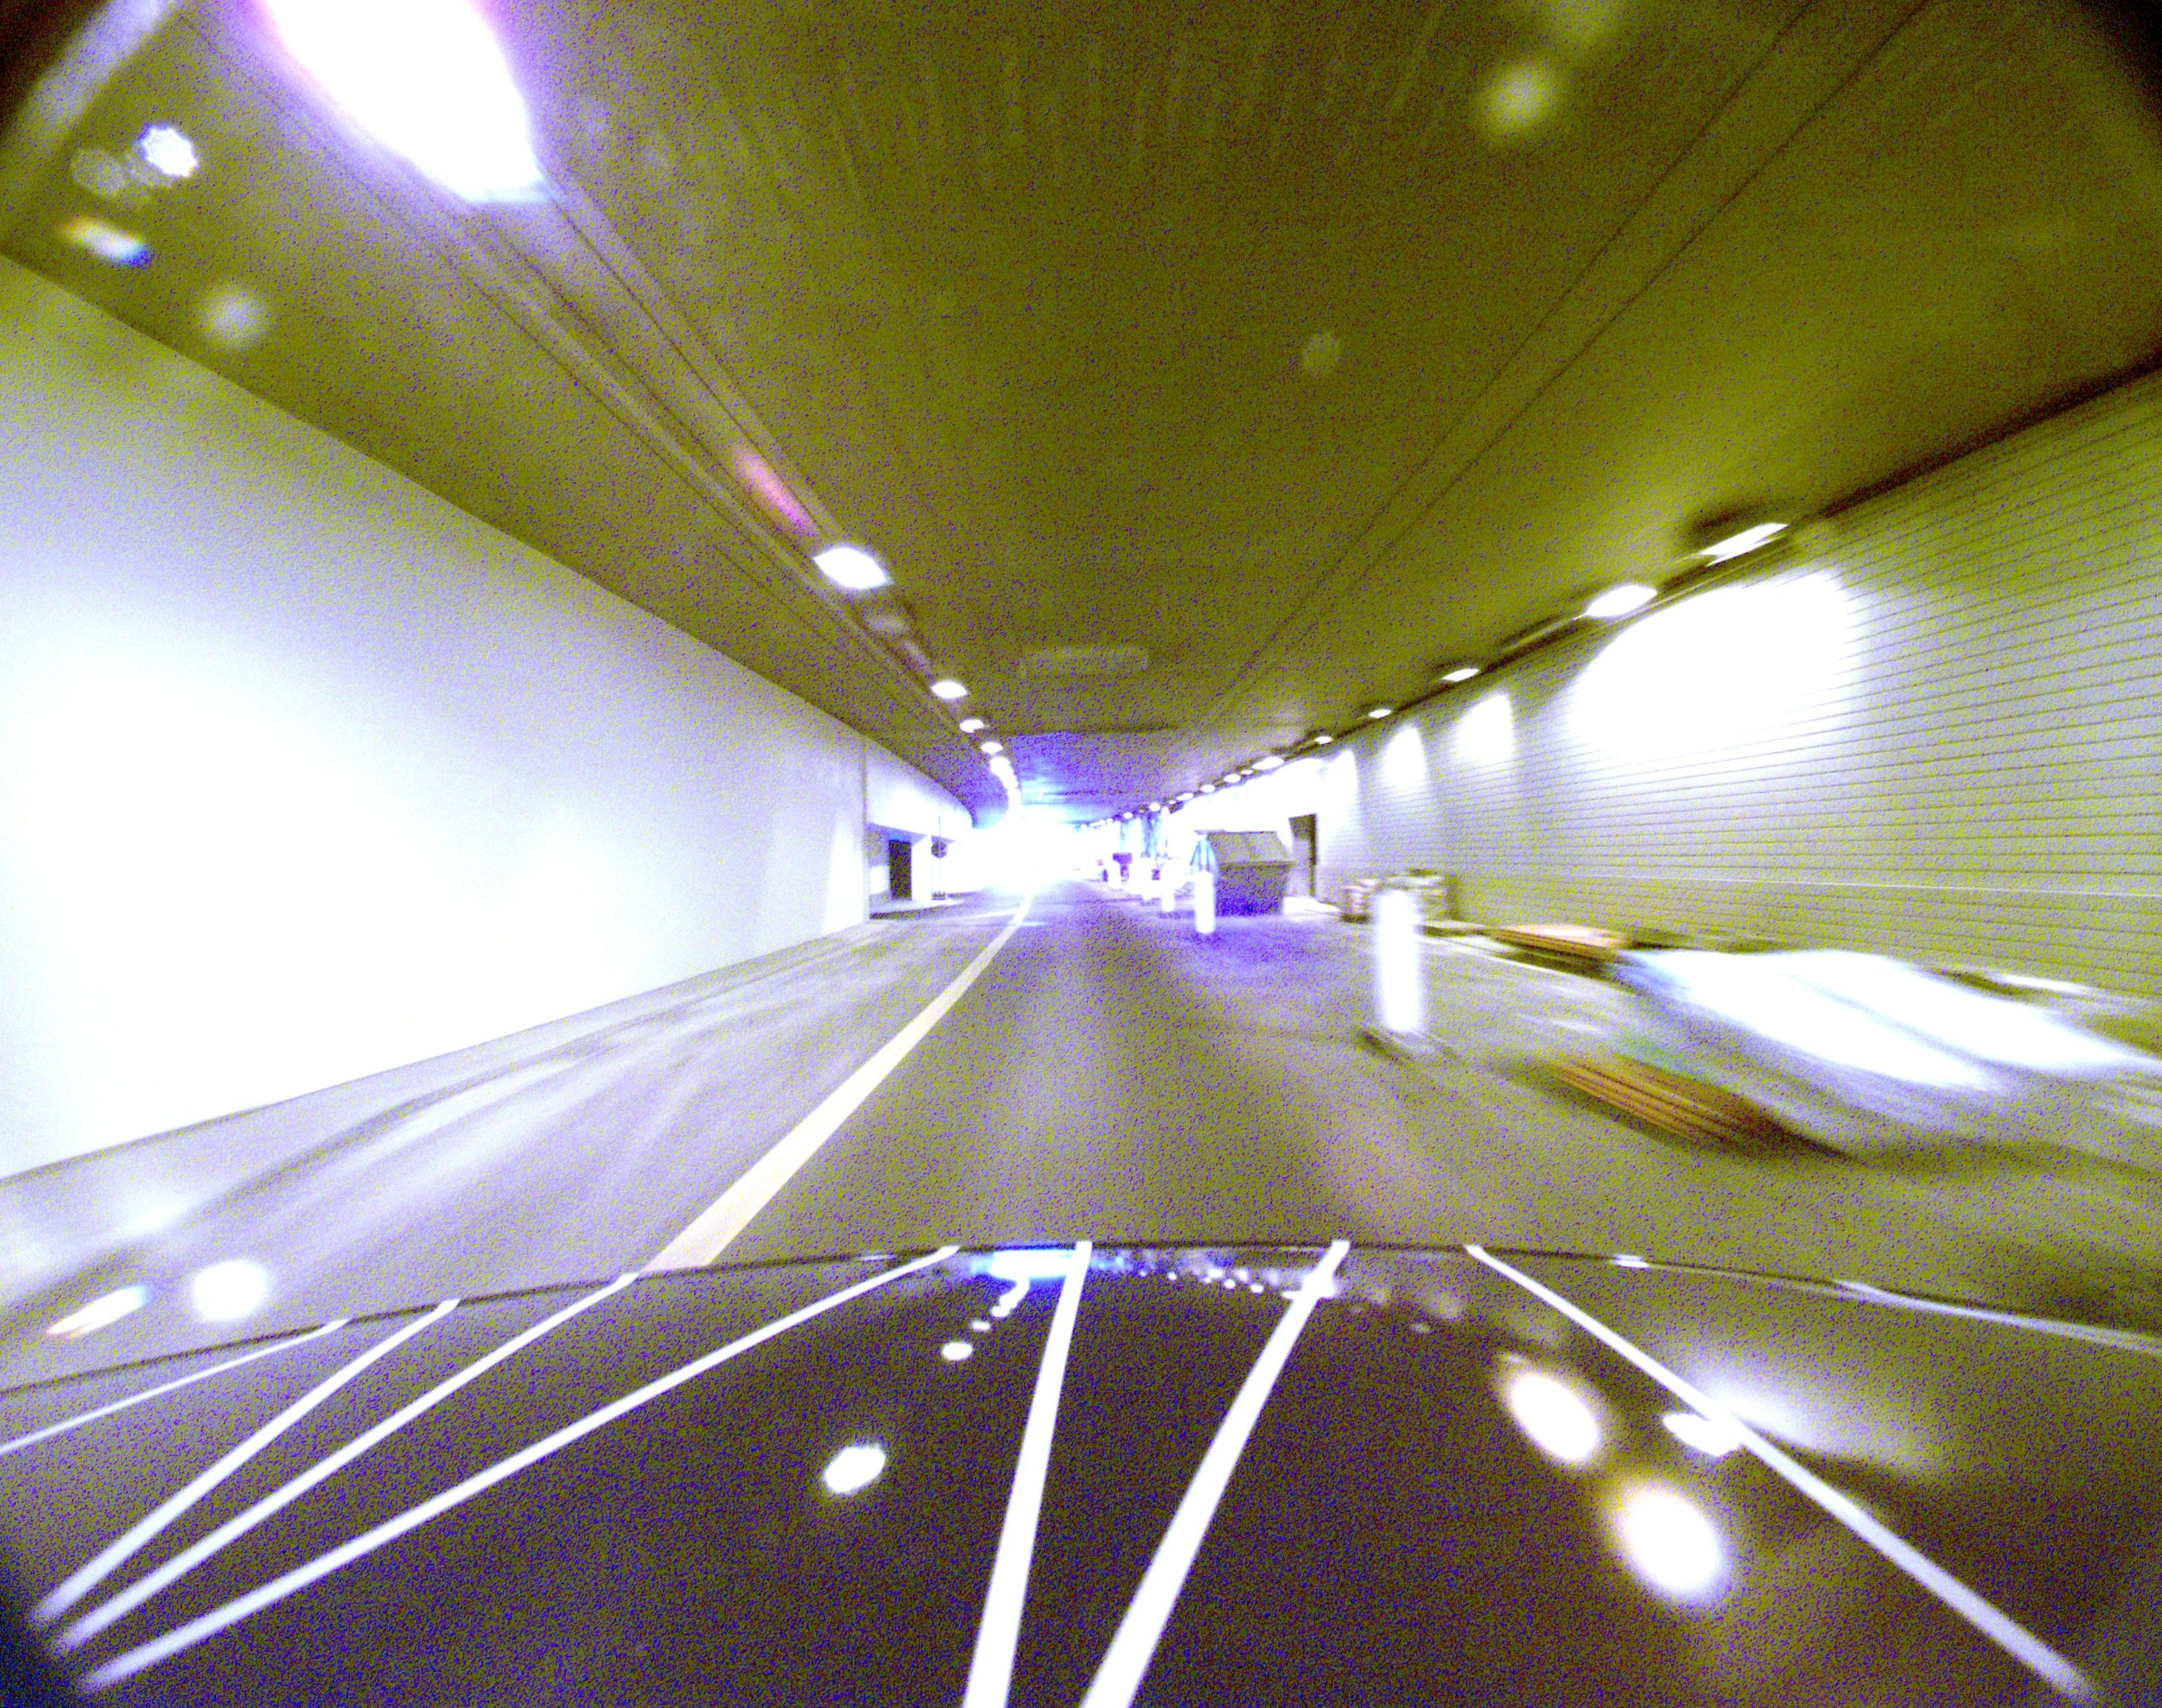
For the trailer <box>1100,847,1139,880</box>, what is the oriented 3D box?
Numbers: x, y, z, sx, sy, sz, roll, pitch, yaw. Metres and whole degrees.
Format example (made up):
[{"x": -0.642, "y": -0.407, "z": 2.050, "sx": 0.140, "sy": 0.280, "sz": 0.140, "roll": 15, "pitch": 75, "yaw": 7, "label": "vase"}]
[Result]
[{"x": 2.215, "y": 0.526, "z": 44.393, "sx": 1.644, "sy": 1.781, "sz": 3.120, "roll": -2, "pitch": 1, "yaw": -8, "label": "trailer"}]

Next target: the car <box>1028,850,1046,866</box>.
[{"x": -5.435, "y": 0.480, "z": 93.968, "sx": 1.999, "sy": 1.743, "sz": 3.997, "roll": -2, "pitch": 1, "yaw": -6, "label": "car"}]
